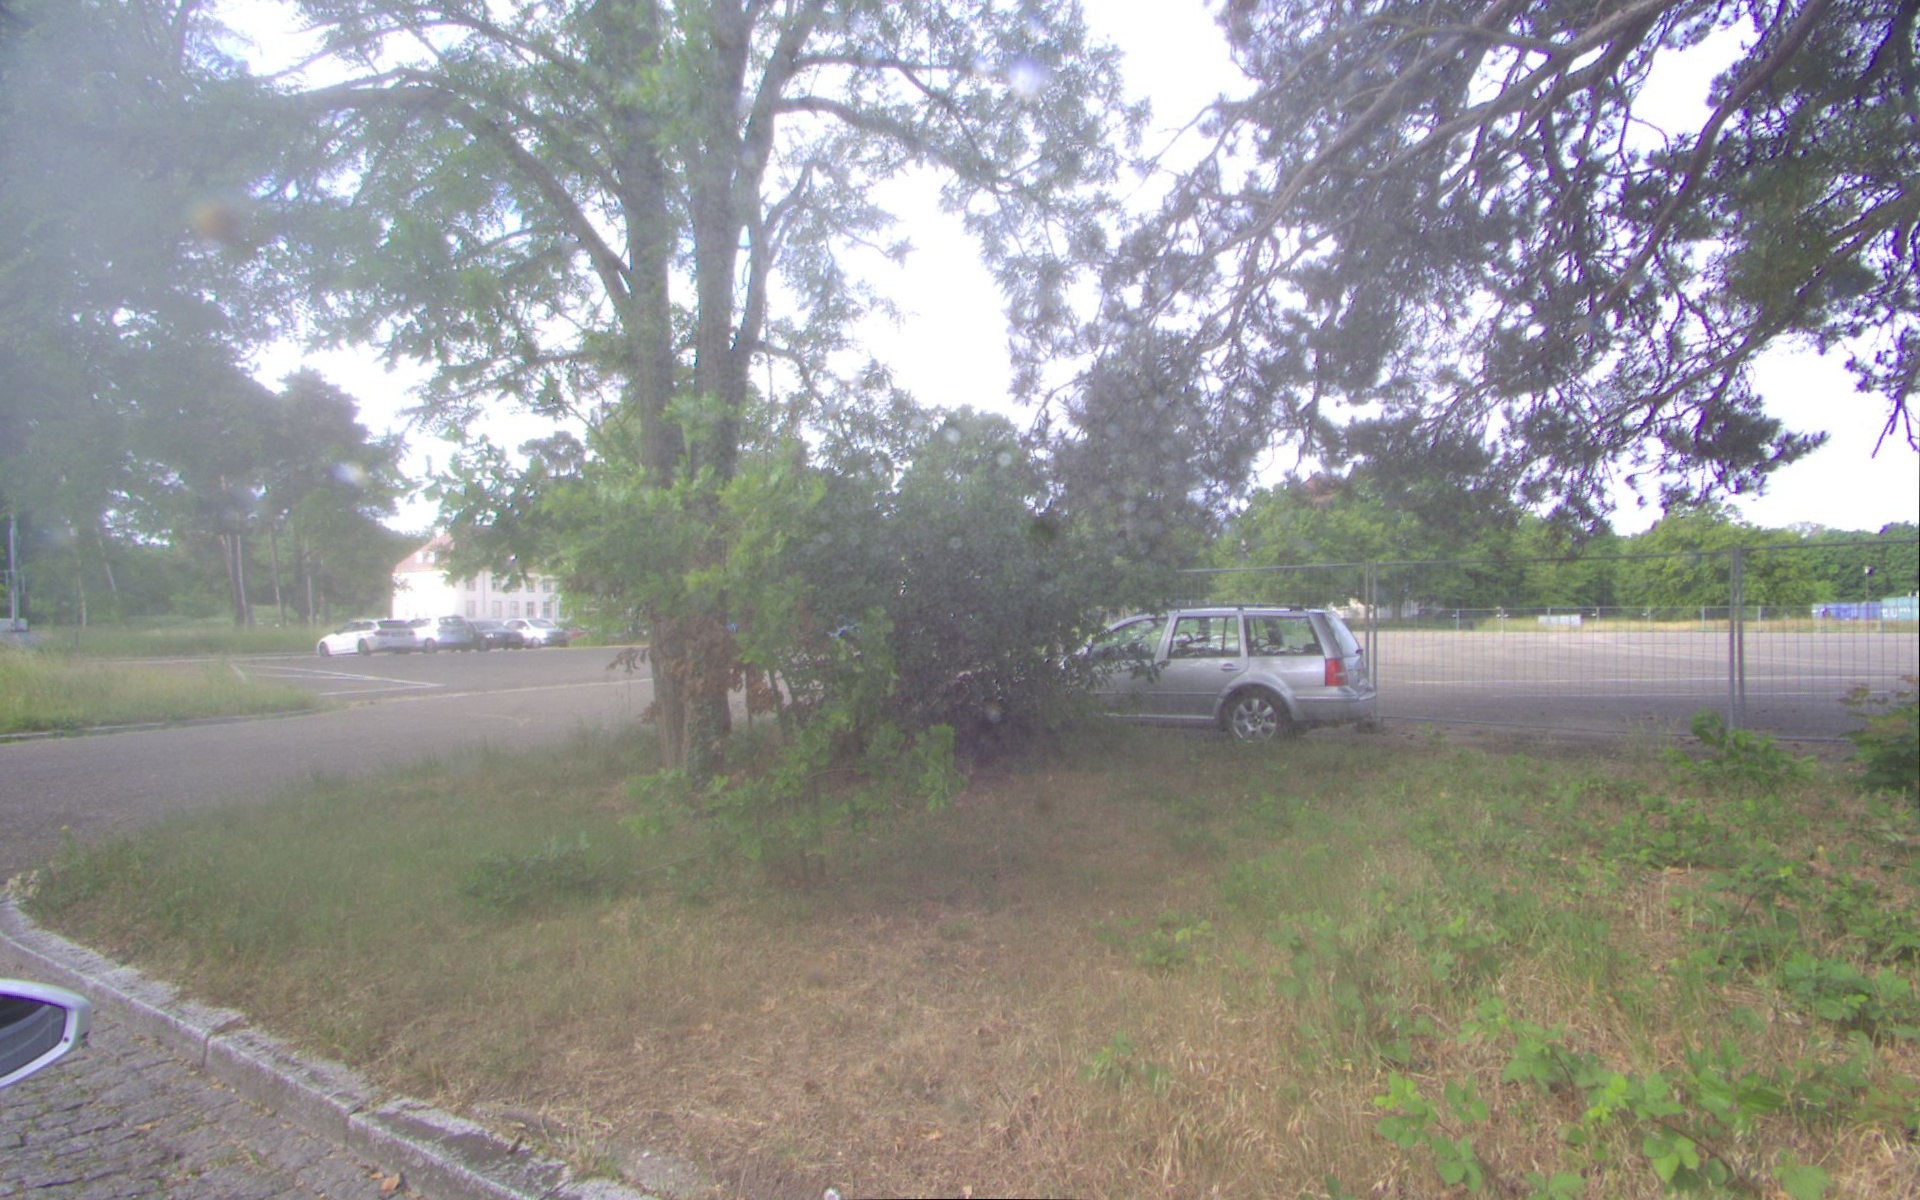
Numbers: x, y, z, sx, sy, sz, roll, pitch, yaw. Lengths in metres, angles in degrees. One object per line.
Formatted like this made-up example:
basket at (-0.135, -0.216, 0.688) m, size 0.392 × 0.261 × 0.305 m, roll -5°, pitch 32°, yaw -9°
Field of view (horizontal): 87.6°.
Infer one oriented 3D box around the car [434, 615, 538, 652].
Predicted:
car at (-20.993, 1.488, 44.356) m, size 4.359 × 1.500 × 1.992 m, roll -2°, pitch -1°, yaw 29°

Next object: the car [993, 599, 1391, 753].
car at (2.519, 0.782, 11.141) m, size 4.014 × 1.444 × 1.645 m, roll -1°, pitch -3°, yaw 31°

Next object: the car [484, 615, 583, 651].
car at (-19.977, 1.573, 46.871) m, size 4.359 × 1.542 × 1.992 m, roll -2°, pitch -3°, yaw 29°

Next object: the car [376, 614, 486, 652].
car at (-22.160, 1.386, 41.940) m, size 4.359 × 1.500 × 1.992 m, roll -2°, pitch -1°, yaw 29°

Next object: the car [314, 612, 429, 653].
car at (-23.342, 1.292, 39.712) m, size 4.359 × 1.500 × 1.992 m, roll -2°, pitch -1°, yaw 29°

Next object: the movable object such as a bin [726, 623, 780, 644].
movable object such as a bin at (-8.398, 1.347, 40.655) m, size 1.928 × 0.836 × 1.181 m, roll -1°, pitch -1°, yaw 37°
